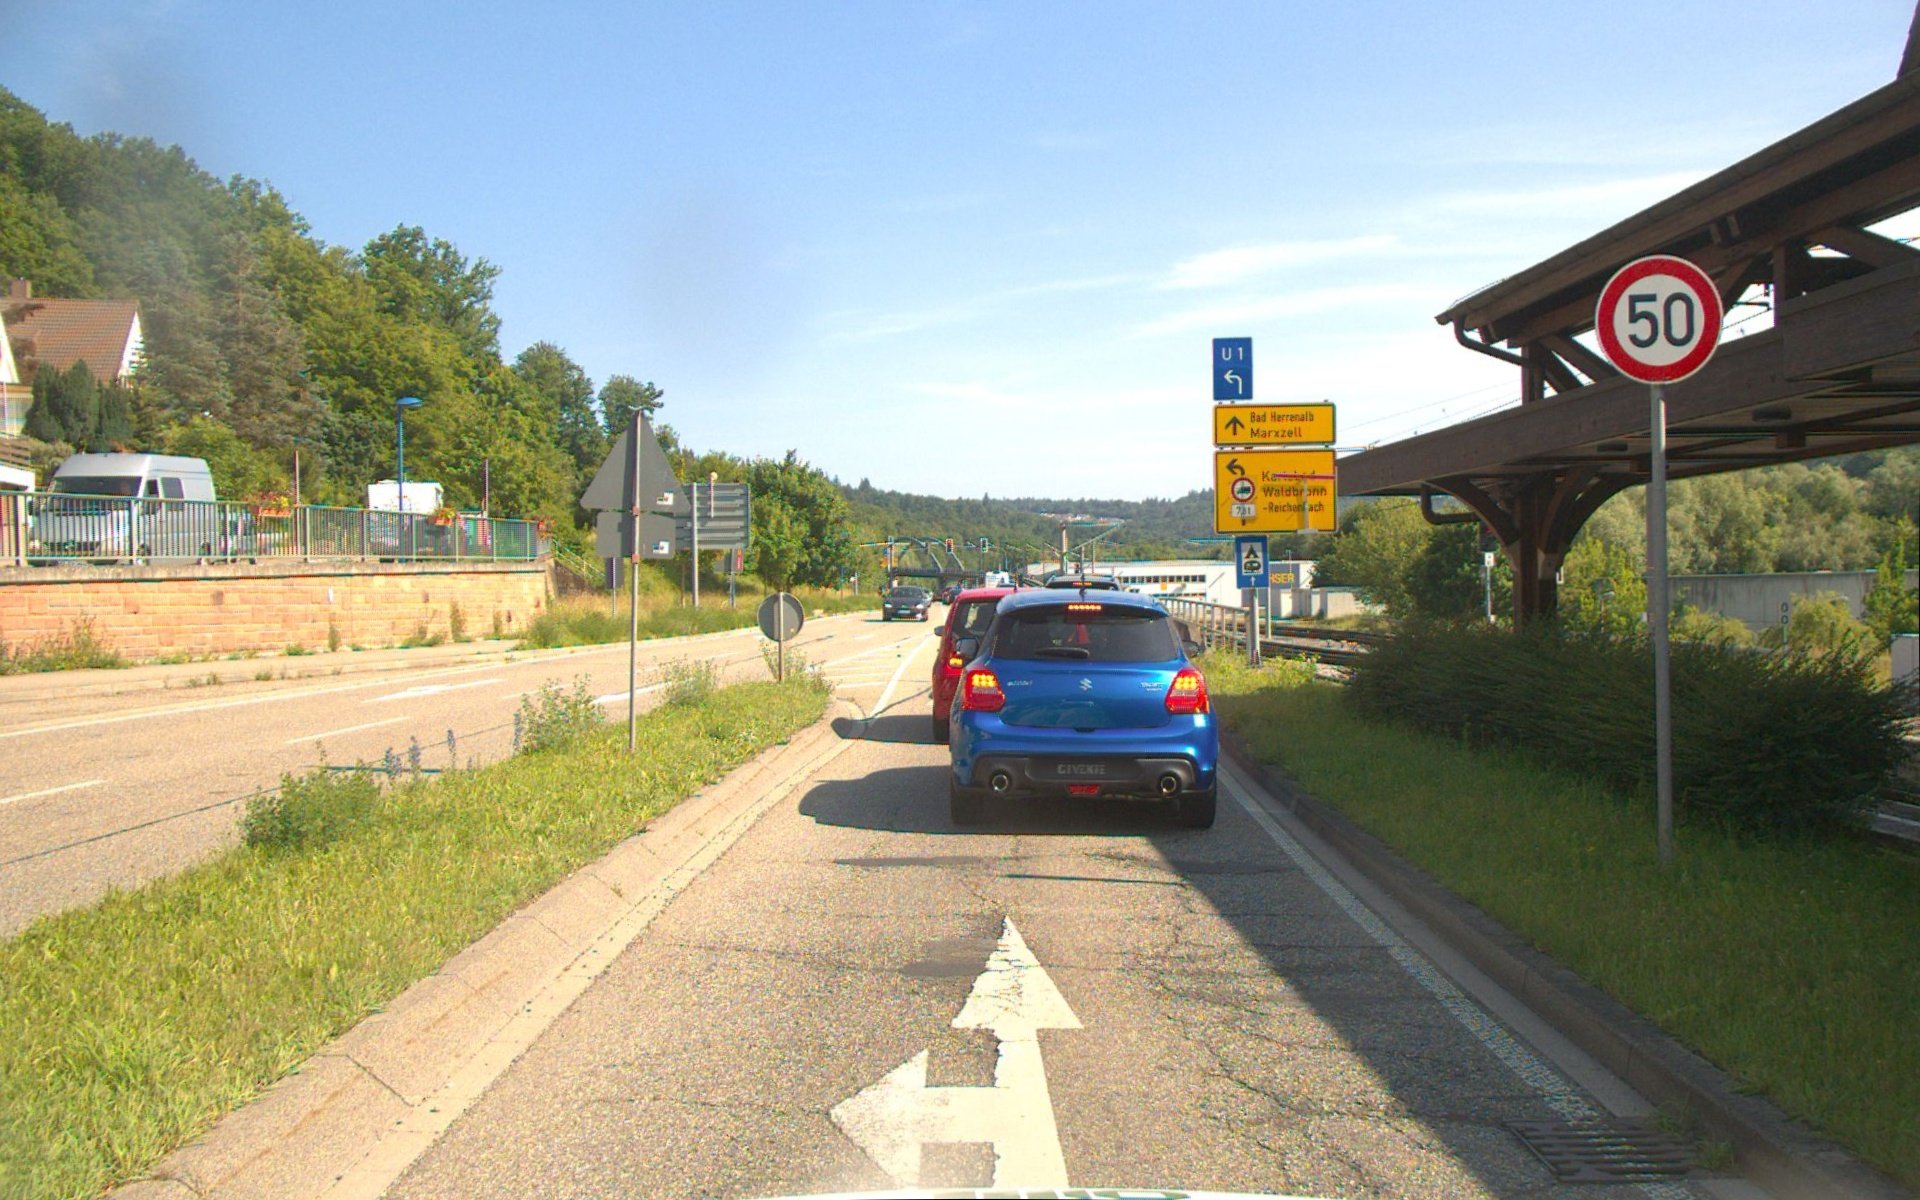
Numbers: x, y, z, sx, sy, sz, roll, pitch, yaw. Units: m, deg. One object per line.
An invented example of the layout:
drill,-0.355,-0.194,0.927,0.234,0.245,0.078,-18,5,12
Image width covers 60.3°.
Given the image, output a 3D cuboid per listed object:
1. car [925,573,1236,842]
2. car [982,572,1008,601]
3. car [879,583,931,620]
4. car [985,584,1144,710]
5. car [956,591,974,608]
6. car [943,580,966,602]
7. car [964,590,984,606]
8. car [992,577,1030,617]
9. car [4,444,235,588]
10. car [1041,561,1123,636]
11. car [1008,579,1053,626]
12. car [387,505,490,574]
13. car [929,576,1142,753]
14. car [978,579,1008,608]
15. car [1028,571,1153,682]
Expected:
car,0.738,0.624,11.835,1.830,1.575,4.000,1,0,0
car,2.754,-1.043,129.825,1.952,2.181,4.720,2,0,1
car,-2.348,0.036,71.273,1.754,1.496,4.718,1,0,4
car,1.402,0.567,22.764,1.952,1.558,4.603,0,0,3
car,0.563,-0.059,200.822,1.953,2.049,3.999,1,0,-2
car,-0.463,-0.802,145.076,1.952,1.814,4.001,2,0,1
car,1.465,-0.226,172.136,1.952,1.619,4.000,2,0,1
car,2.786,-0.207,90.835,1.952,2.048,4.001,2,1,1
car,-16.212,-1.577,32.309,2.053,2.486,5.778,2,1,-6
car,3.103,-0.052,42.853,1.952,1.766,4.002,2,1,3
car,3.331,0.096,78.669,1.952,2.048,4.001,2,1,1
car,-15.955,-1.852,50.850,1.981,1.953,4.727,2,1,-5
car,0.801,0.599,17.506,1.952,1.598,4.001,1,0,3
car,2.305,-0.488,115.312,1.952,1.848,4.001,2,1,1
car,2.204,0.407,28.834,1.952,1.716,4.499,2,1,3
